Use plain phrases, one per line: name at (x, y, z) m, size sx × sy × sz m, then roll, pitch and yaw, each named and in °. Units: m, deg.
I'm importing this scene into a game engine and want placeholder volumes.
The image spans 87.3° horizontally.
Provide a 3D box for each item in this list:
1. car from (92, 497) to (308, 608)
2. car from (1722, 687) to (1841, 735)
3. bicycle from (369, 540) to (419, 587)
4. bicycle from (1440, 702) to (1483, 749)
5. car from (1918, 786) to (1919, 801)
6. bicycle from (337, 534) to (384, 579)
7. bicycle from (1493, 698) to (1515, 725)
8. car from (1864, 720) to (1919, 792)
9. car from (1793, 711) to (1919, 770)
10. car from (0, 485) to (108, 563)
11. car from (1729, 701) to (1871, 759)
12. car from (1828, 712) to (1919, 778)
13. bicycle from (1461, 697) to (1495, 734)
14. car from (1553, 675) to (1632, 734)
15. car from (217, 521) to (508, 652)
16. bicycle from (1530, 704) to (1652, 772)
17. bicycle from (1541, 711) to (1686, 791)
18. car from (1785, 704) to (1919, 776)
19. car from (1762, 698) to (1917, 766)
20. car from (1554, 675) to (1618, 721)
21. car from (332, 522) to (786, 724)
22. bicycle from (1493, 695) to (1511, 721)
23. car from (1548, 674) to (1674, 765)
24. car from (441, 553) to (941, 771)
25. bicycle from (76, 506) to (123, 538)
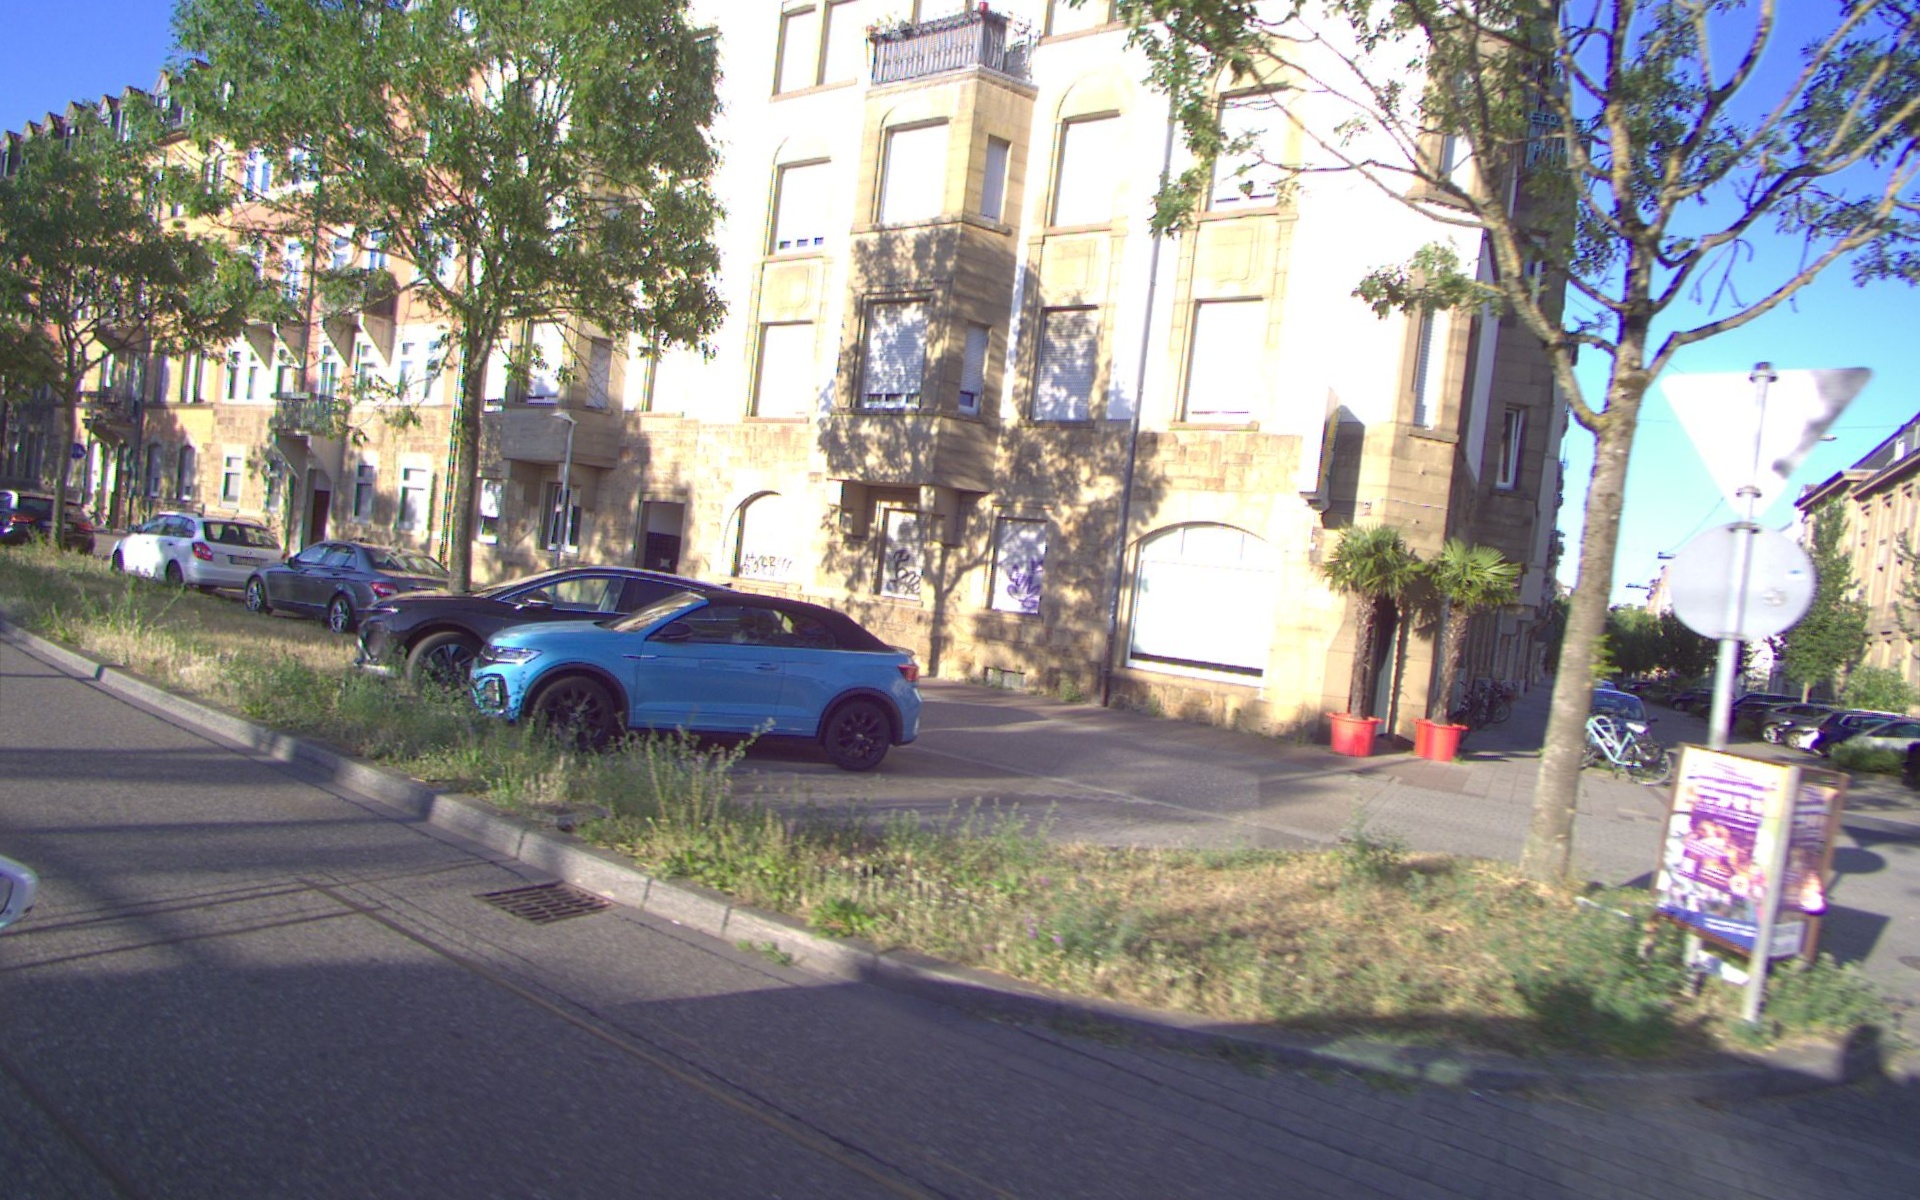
car at (-14.543, -0.936, 19.196) m, size 4.201 × 1.529 × 1.730 m, roll 7°, pitch -2°, yaw 31°
car at (38.858, 5.241, 47.669) m, size 1.853 × 1.559 × 3.972 m, roll 7°, pitch 0°, yaw -38°
bicycle at (-16.227, -1.057, 28.842) m, size 1.717 × 1.182 × 0.482 m, roll 7°, pitch 6°, yaw 32°
bicycle at (9.466, 2.358, 18.980) m, size 0.522 × 0.744 × 1.543 m, roll 8°, pitch 0°, yaw 31°
car at (21.710, 3.579, 19.766) m, size 1.853 × 1.596 × 3.834 m, roll 7°, pitch 0°, yaw -37°
bicycle at (-17.788, -1.296, 29.848) m, size 1.717 × 1.182 × 0.482 m, roll 7°, pitch 6°, yaw 32°
bicycle at (15.062, 3.081, 27.845) m, size 0.424 × 0.661 × 1.269 m, roll 8°, pitch 0°, yaw 31°
car at (23.122, 3.781, 22.730) m, size 1.853 × 1.492 × 3.671 m, roll 7°, pitch 0°, yaw -38°
car at (29.376, 4.557, 32.397) m, size 1.677 × 1.326 × 3.594 m, roll 7°, pitch 0°, yaw -38°
car at (-22.390, -1.912, 24.107) m, size 4.218 × 1.465 × 1.707 m, roll 7°, pitch -2°, yaw 32°
car at (31.339, 4.845, 37.617) m, size 1.853 × 1.492 × 3.671 m, roll 7°, pitch 0°, yaw -38°
car at (26.530, 4.134, 27.673) m, size 1.854 × 1.492 × 3.670 m, roll 7°, pitch 0°, yaw -40°
bicycle at (12.168, 2.689, 23.620) m, size 0.522 × 0.744 × 1.543 m, roll 8°, pitch 0°, yaw 31°
car at (21.752, 3.531, 34.692) m, size 1.967 × 1.571 × 4.102 m, roll 10°, pitch 2°, yaw 32°
car at (-9.860, -0.255, 16.506) m, size 4.827 × 1.461 × 1.950 m, roll 7°, pitch -2°, yaw 31°
bicycle at (12.298, 2.675, 19.671) m, size 0.623 × 0.959 × 1.870 m, roll 7°, pitch 1°, yaw -28°
bicycle at (11.012, 2.521, 17.000) m, size 0.626 × 0.959 × 1.861 m, roll 7°, pitch 1°, yaw -43°
car at (27.487, 4.239, 30.295) m, size 1.853 × 1.575 × 3.671 m, roll 7°, pitch 0°, yaw -38°
car at (30.680, 4.586, 35.172) m, size 1.853 × 1.688 × 3.671 m, roll 7°, pitch 0°, yaw -38°
car at (26.123, 4.037, 42.002) m, size 1.967 × 1.484 × 4.102 m, roll 10°, pitch 1°, yaw 32°
car at (-4.430, 0.294, 11.411) m, size 4.295 × 1.590 × 1.987 m, roll 9°, pitch -1°, yaw -29°
bicycle at (15.975, 3.172, 29.658) m, size 0.322 × 0.689 × 1.147 m, roll 8°, pitch 0°, yaw 31°
car at (14.338, 2.548, 22.367) m, size 1.966 × 1.485 × 3.992 m, roll 10°, pitch 2°, yaw 31°
car at (-2.546, 0.615, 9.750) m, size 4.236 × 1.540 × 1.835 m, roll 8°, pitch 0°, yaw -26°
bicycle at (-31.073, -2.825, 36.315) m, size 2.302 × 0.960 × 0.733 m, roll 7°, pitch 2°, yaw 35°
